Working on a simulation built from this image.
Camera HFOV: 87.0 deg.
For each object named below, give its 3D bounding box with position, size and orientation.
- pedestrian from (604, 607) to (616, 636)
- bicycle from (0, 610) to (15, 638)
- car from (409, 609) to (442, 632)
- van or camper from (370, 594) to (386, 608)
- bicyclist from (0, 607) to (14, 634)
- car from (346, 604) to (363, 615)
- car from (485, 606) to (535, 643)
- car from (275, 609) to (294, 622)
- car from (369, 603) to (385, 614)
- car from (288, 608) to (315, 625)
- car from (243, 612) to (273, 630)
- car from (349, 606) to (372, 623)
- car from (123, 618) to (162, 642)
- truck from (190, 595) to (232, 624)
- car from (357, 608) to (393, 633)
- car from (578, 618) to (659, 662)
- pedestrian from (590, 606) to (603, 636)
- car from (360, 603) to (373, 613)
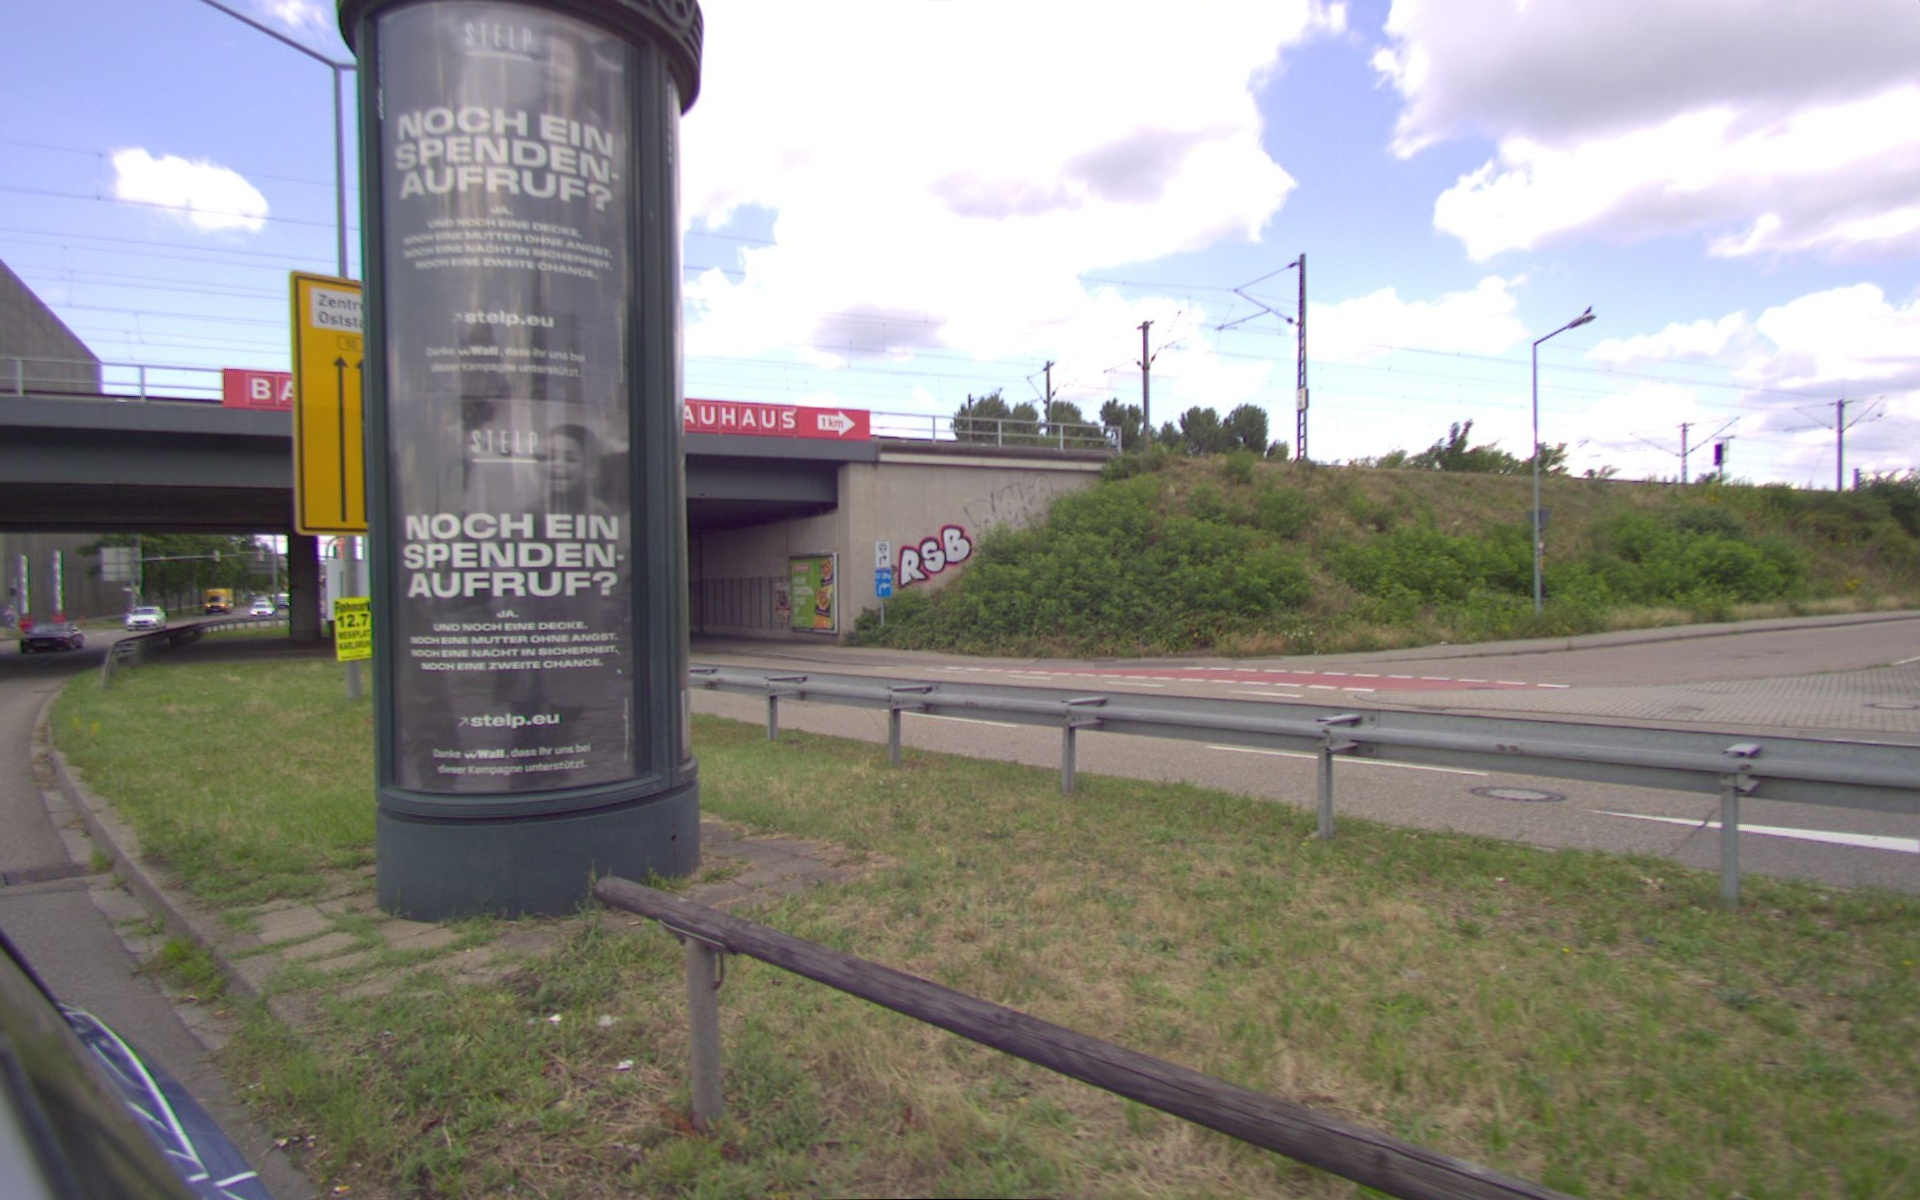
[{"bbox_3d":[-20.178,1.210,58.327,0.546,1.637,0.588,-1,0,-31],"label":"pedestrian"},{"bbox_3d":[-63.952,1.611,67.717,0.710,1.787,2.540,-1,1,-35],"label":"bicycle"},{"bbox_3d":[-37.282,1.413,70.665,1.920,1.384,4.013,-3,2,-27],"label":"car"},{"bbox_3d":[-112.517,0.090,195.522,2.320,2.558,7.084,-2,1,-33],"label":"van or camper"},{"bbox_3d":[-64.137,1.357,67.968,0.705,1.782,0.991,-1,1,-35],"label":"bicyclist"},{"bbox_3d":[-85.865,1.352,143.510,1.947,1.399,4.795,0,1,-32],"label":"car"},{"bbox_3d":[-26.153,1.379,58.781,1.966,2.029,4.349,-1,1,-33],"label":"car"},{"bbox_3d":[-82.074,1.916,122.949,1.754,1.507,3.609,-1,1,-32],"label":"car"},{"bbox_3d":[-88.786,1.259,154.051,1.899,1.541,4.011,0,1,-33],"label":"car"},{"bbox_3d":[-63.314,1.583,97.359,1.966,1.425,4.846,-3,2,-32],"label":"car"},{"bbox_3d":[-62.857,1.843,90.716,1.889,1.425,4.308,-5,3,-32],"label":"car"},{"bbox_3d":[-66.977,1.593,112.993,1.966,1.772,4.730,-1,1,-34],"label":"car"},{"bbox_3d":[-57.445,2.065,71.142,1.685,1.507,3.661,-1,1,-32],"label":"car"},{"bbox_3d":[-83.434,1.017,112.866,3.017,3.136,7.958,-1,1,-32],"label":"truck"},{"bbox_3d":[-42.546,1.453,73.706,1.965,1.687,4.337,-1,1,-26],"label":"car"},{"bbox_3d":[-12.844,1.448,37.938,1.729,1.522,4.009,-1,0,-37],"label":"car"},{"bbox_3d":[-21.100,1.204,58.770,0.582,1.693,0.557,-1,0,-34],"label":"pedestrian"},{"bbox_3d":[-125.103,1.724,213.251,2.161,1.978,5.208,-1,1,-33],"label":"car"}]
